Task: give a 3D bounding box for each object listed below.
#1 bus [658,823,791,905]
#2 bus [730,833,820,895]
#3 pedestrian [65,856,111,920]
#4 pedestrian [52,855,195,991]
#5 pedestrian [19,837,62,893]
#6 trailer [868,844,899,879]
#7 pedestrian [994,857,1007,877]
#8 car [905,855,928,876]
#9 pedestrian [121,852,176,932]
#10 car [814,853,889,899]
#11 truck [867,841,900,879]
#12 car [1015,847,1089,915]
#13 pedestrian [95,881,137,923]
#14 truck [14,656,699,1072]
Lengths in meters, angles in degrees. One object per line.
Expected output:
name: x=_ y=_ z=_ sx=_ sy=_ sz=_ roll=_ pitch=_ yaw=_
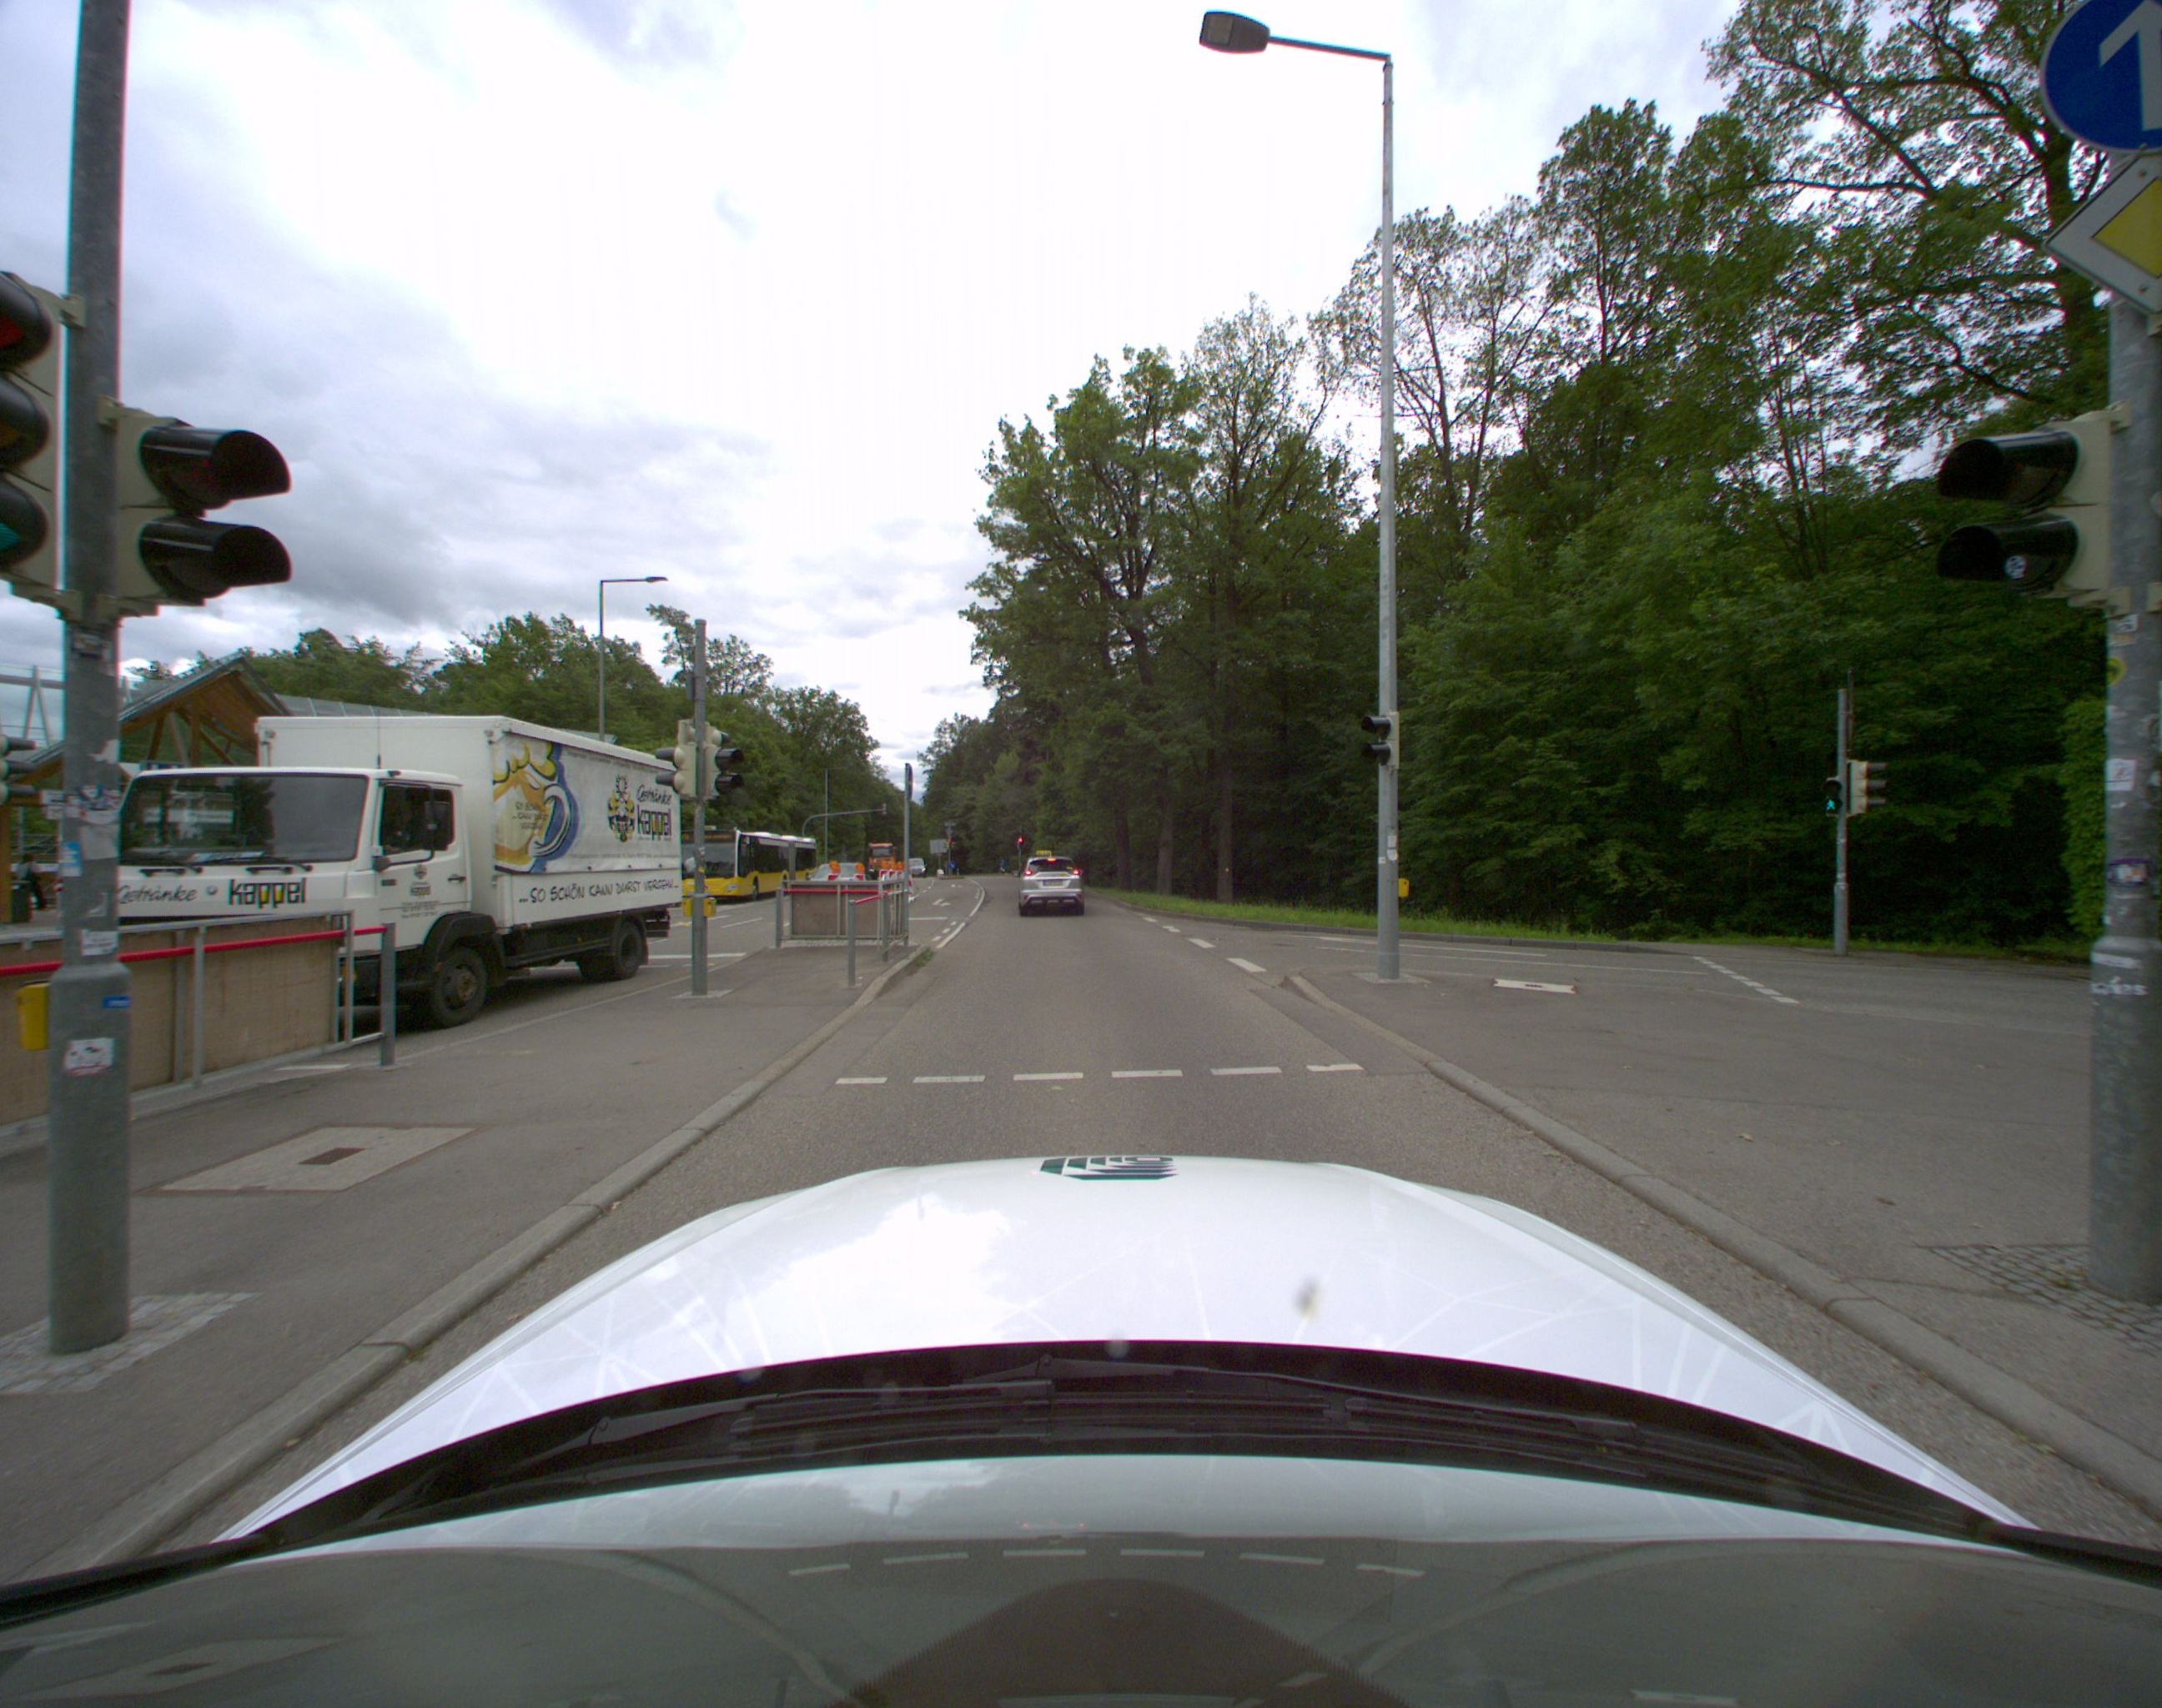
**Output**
bus: x=-15.420 y=0.439 z=36.177 sx=2.897 sy=3.127 sz=9.730 roll=0 pitch=-1 yaw=-8
bus: x=-16.762 y=0.535 z=45.283 sx=2.897 sy=3.127 sz=8.668 roll=0 pitch=-1 yaw=-8
pedestrian: x=-25.833 y=0.868 z=21.198 sx=0.664 sy=1.596 sz=0.680 roll=1 pitch=0 yaw=43
pedestrian: x=-12.583 y=0.858 z=10.754 sx=1.100 sy=1.676 sz=0.900 roll=0 pitch=-1 yaw=-42
pedestrian: x=-29.432 y=0.319 z=23.042 sx=0.459 sy=1.554 sz=0.610 roll=1 pitch=0 yaw=18
trailer: x=-20.086 y=0.816 z=82.877 sx=2.743 sy=3.318 sz=8.527 roll=-2 pitch=-1 yaw=-14
pedestrian: x=-6.714 y=1.098 z=68.235 sx=1.045 sy=1.649 sz=1.067 roll=-1 pitch=0 yaw=-6
car: x=-16.218 y=1.167 z=80.136 sx=1.995 sy=1.893 sz=4.818 roll=-2 pitch=-1 yaw=-12
pedestrian: x=-21.967 y=0.865 z=19.208 sx=0.982 sy=1.809 sz=0.771 roll=1 pitch=0 yaw=44
car: x=-8.289 y=0.778 z=29.790 sx=1.805 sy=1.509 sz=4.300 roll=-1 pitch=-1 yaw=-5
truck: x=-18.661 y=0.636 z=76.967 sx=2.743 sy=3.318 sz=7.125 roll=-2 pitch=-1 yaw=-14
car: x=-0.740 y=0.713 z=23.584 sx=1.840 sy=1.780 sz=4.002 roll=-1 pitch=0 yaw=2
pedestrian: x=-30.123 y=1.498 z=25.418 sx=0.387 sy=1.269 sz=0.771 roll=1 pitch=0 yaw=32
truck: x=-7.206 y=0.081 z=9.592 sx=2.622 sy=3.238 sz=6.200 roll=-2 pitch=-1 yaw=-2
